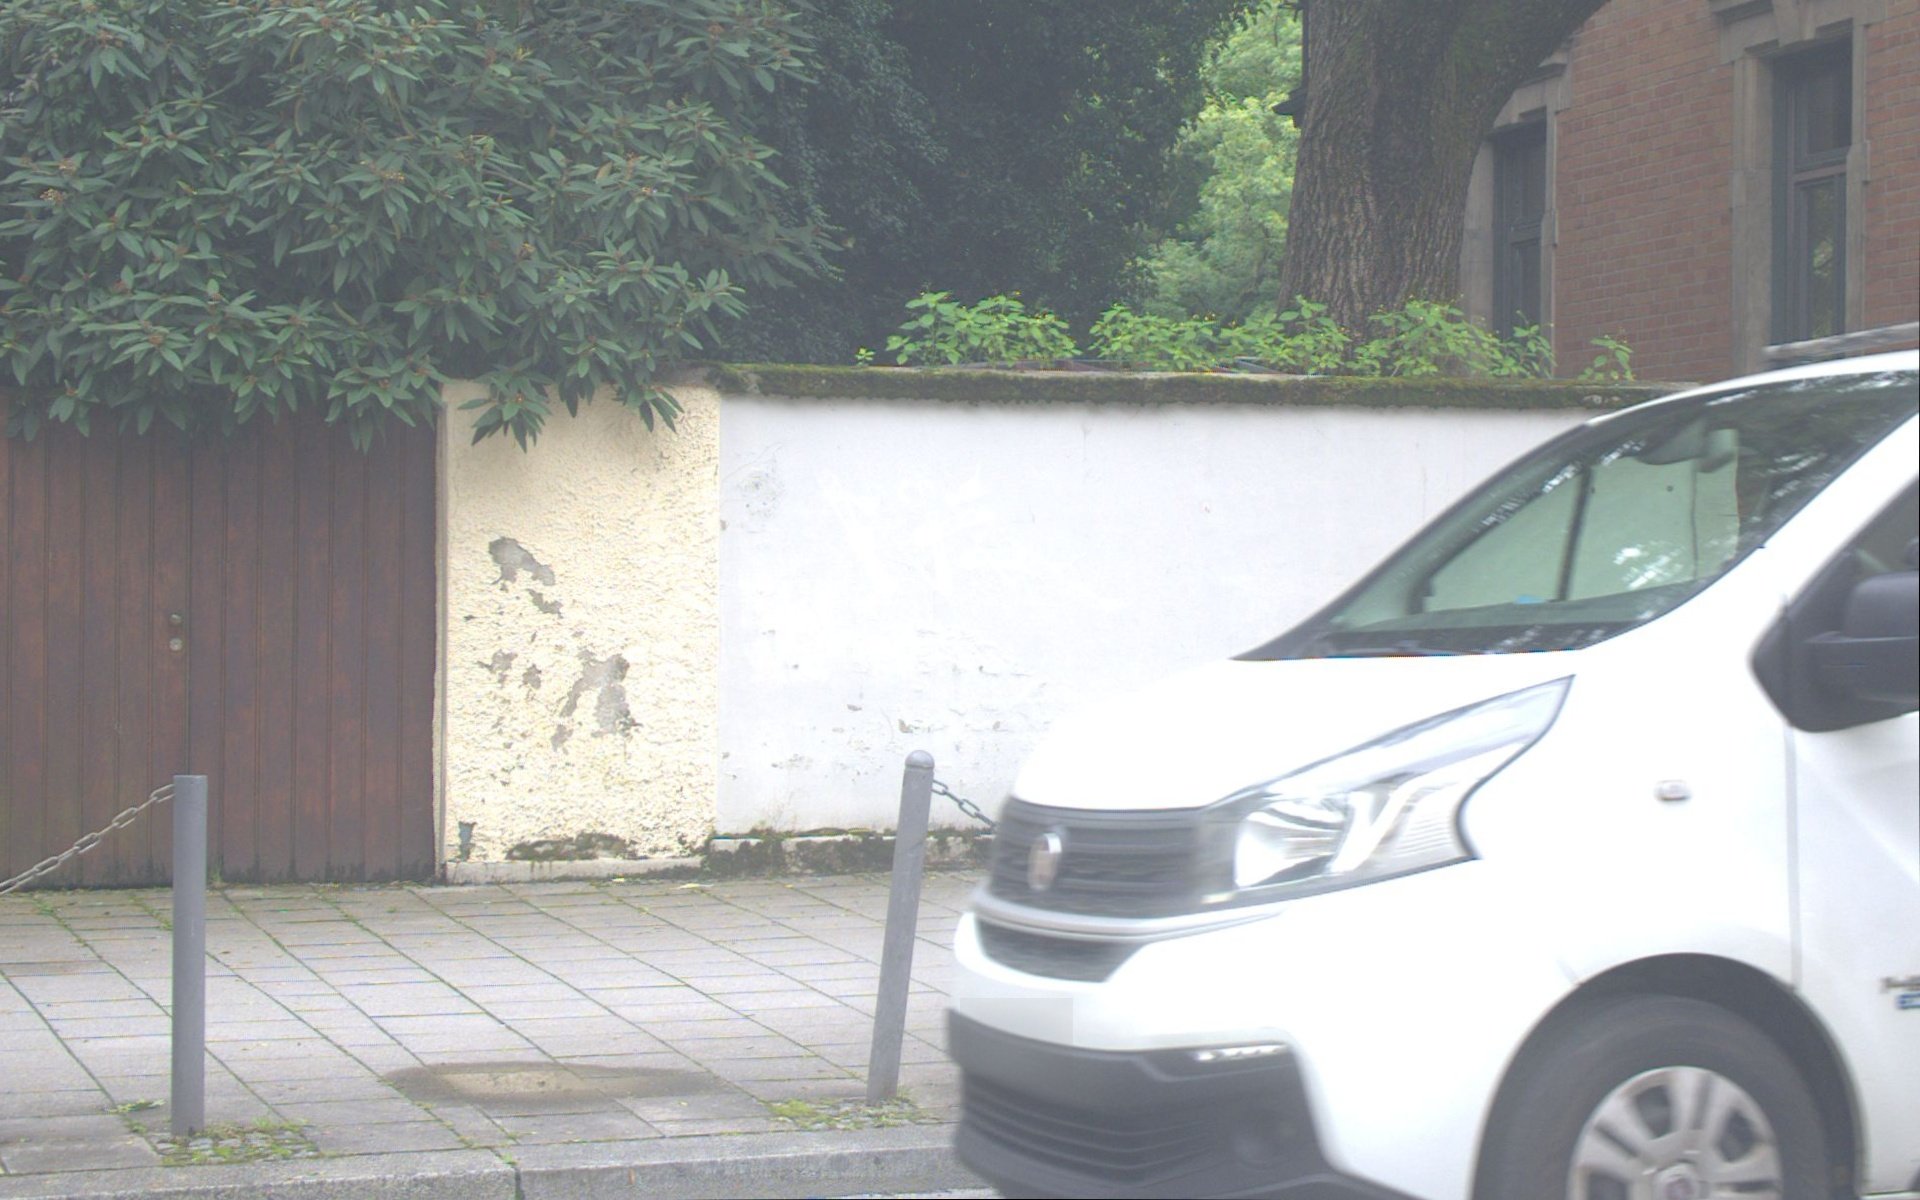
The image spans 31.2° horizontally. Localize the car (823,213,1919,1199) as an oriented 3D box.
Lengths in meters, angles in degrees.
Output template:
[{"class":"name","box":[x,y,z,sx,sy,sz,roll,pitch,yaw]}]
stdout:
[{"class":"car","box":[2.371,0.395,7.387,4.940,2.035,2.047,0,-1,-19]}]
